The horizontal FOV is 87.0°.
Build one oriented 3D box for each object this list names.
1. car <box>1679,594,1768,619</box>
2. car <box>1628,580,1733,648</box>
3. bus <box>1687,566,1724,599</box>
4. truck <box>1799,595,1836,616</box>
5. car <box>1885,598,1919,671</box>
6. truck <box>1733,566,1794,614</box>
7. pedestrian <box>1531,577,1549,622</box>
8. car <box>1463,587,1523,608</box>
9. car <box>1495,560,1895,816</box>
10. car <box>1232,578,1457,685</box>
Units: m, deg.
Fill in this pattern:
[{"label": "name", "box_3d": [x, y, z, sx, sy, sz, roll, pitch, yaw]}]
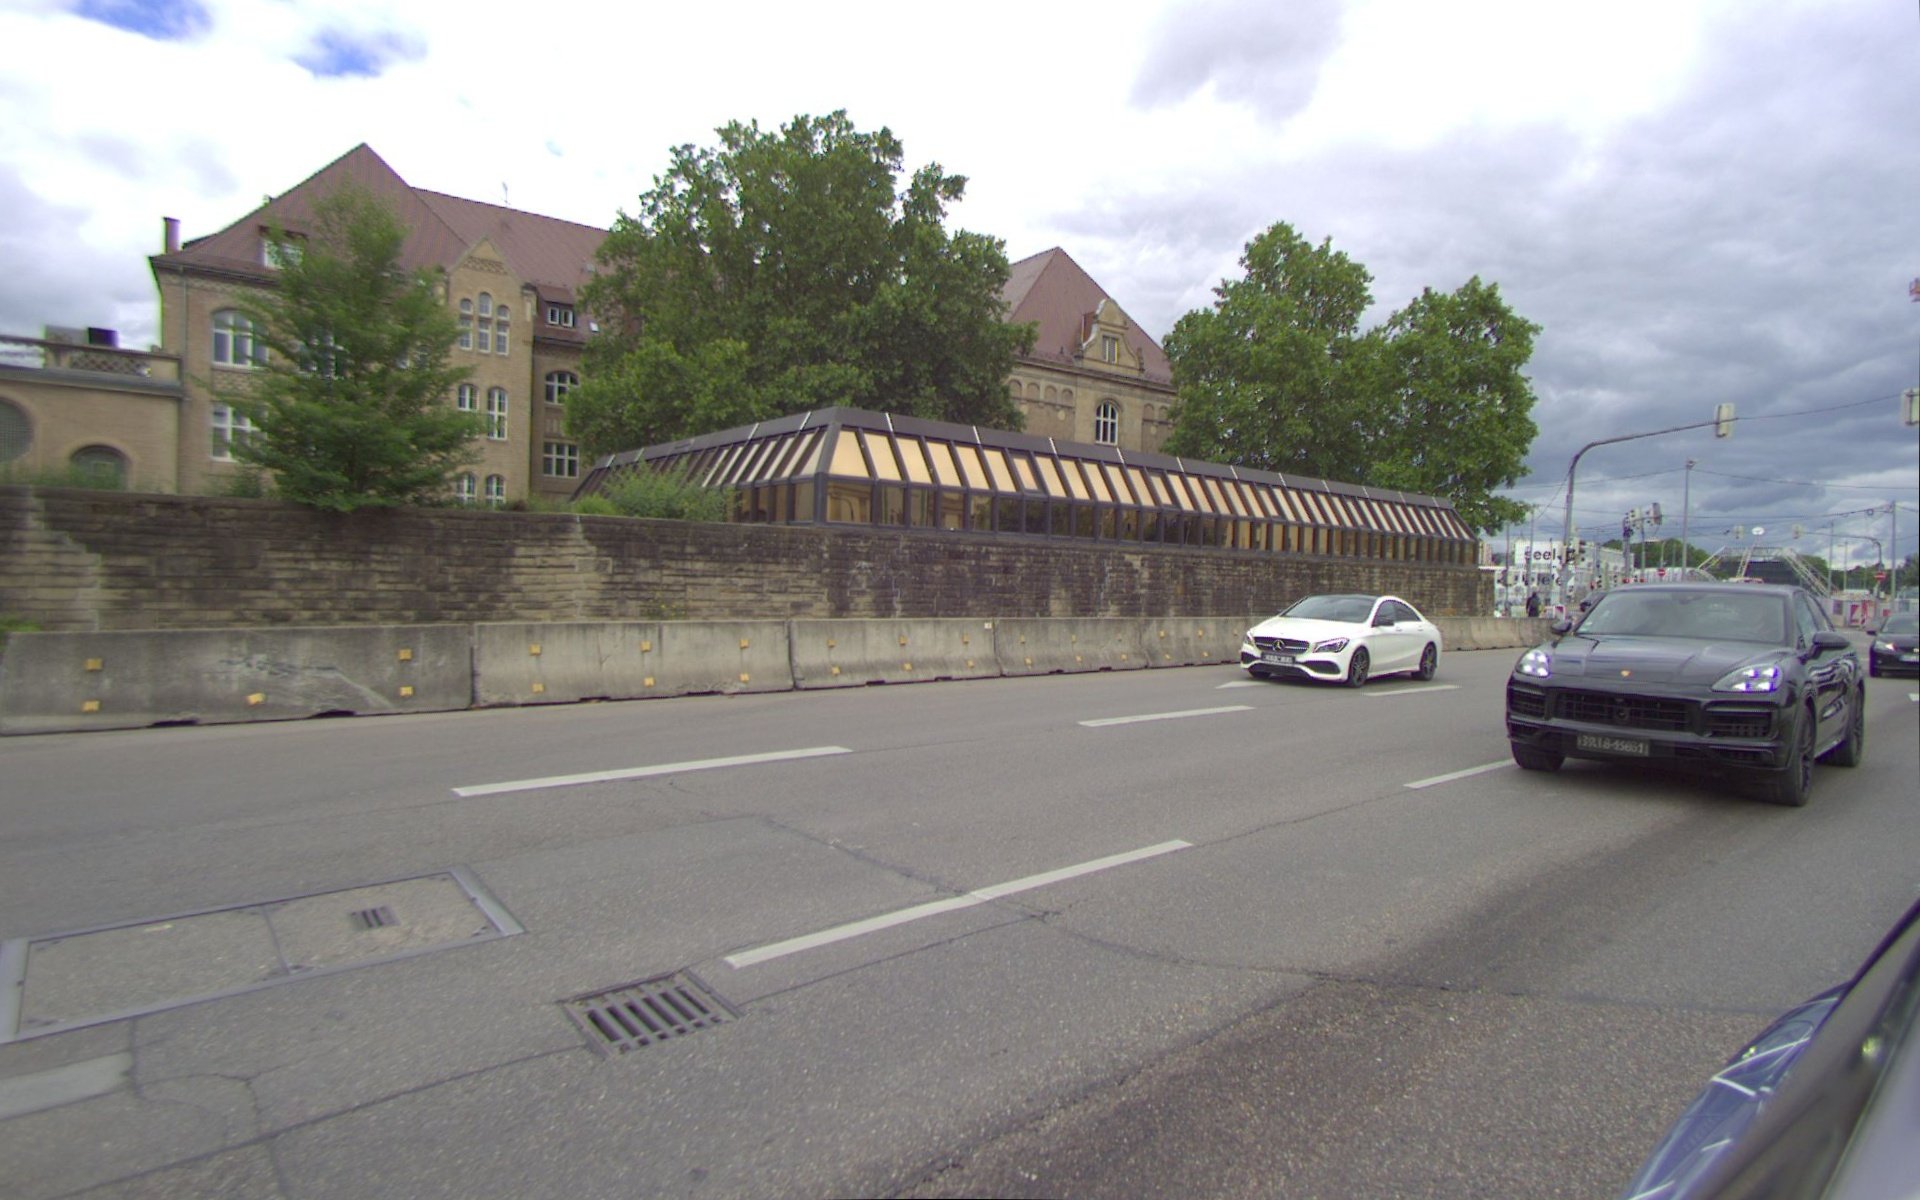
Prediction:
[{"label": "car", "box_3d": [52.023, 0.431, 69.003, 4.667, 1.598, 1.881, 1, 1, 44]}, {"label": "car", "box_3d": [23.257, 0.423, 32.634, 3.609, 1.961, 1.936, 1, 3, -42]}, {"label": "bus", "box_3d": [77.101, -1.755, 104.642, 2.799, 3.209, 9.272, 3, 1, 38]}, {"label": "truck", "box_3d": [67.562, 0.440, 79.774, 1.814, 1.559, 3.715, 2, 1, 34]}, {"label": "car", "box_3d": [22.201, 0.760, 22.848, 1.730, 1.488, 4.348, 4, 3, 44]}, {"label": "truck", "box_3d": [66.383, -0.906, 83.783, 2.890, 3.720, 8.923, 2, 2, 32]}, {"label": "pedestrian", "box_3d": [26.324, -0.030, 45.952, 0.616, 2.039, 0.844, 0, 0, 23]}, {"label": "car", "box_3d": [41.839, -0.191, 79.488, 3.939, 1.594, 1.666, 0, -2, 42]}, {"label": "car", "box_3d": [6.689, 0.536, 9.007, 4.530, 1.667, 1.954, -1, 3, -42]}, {"label": "car", "box_3d": [6.346, 0.448, 16.446, 4.309, 1.453, 1.736, 0, 2, -45]}]
